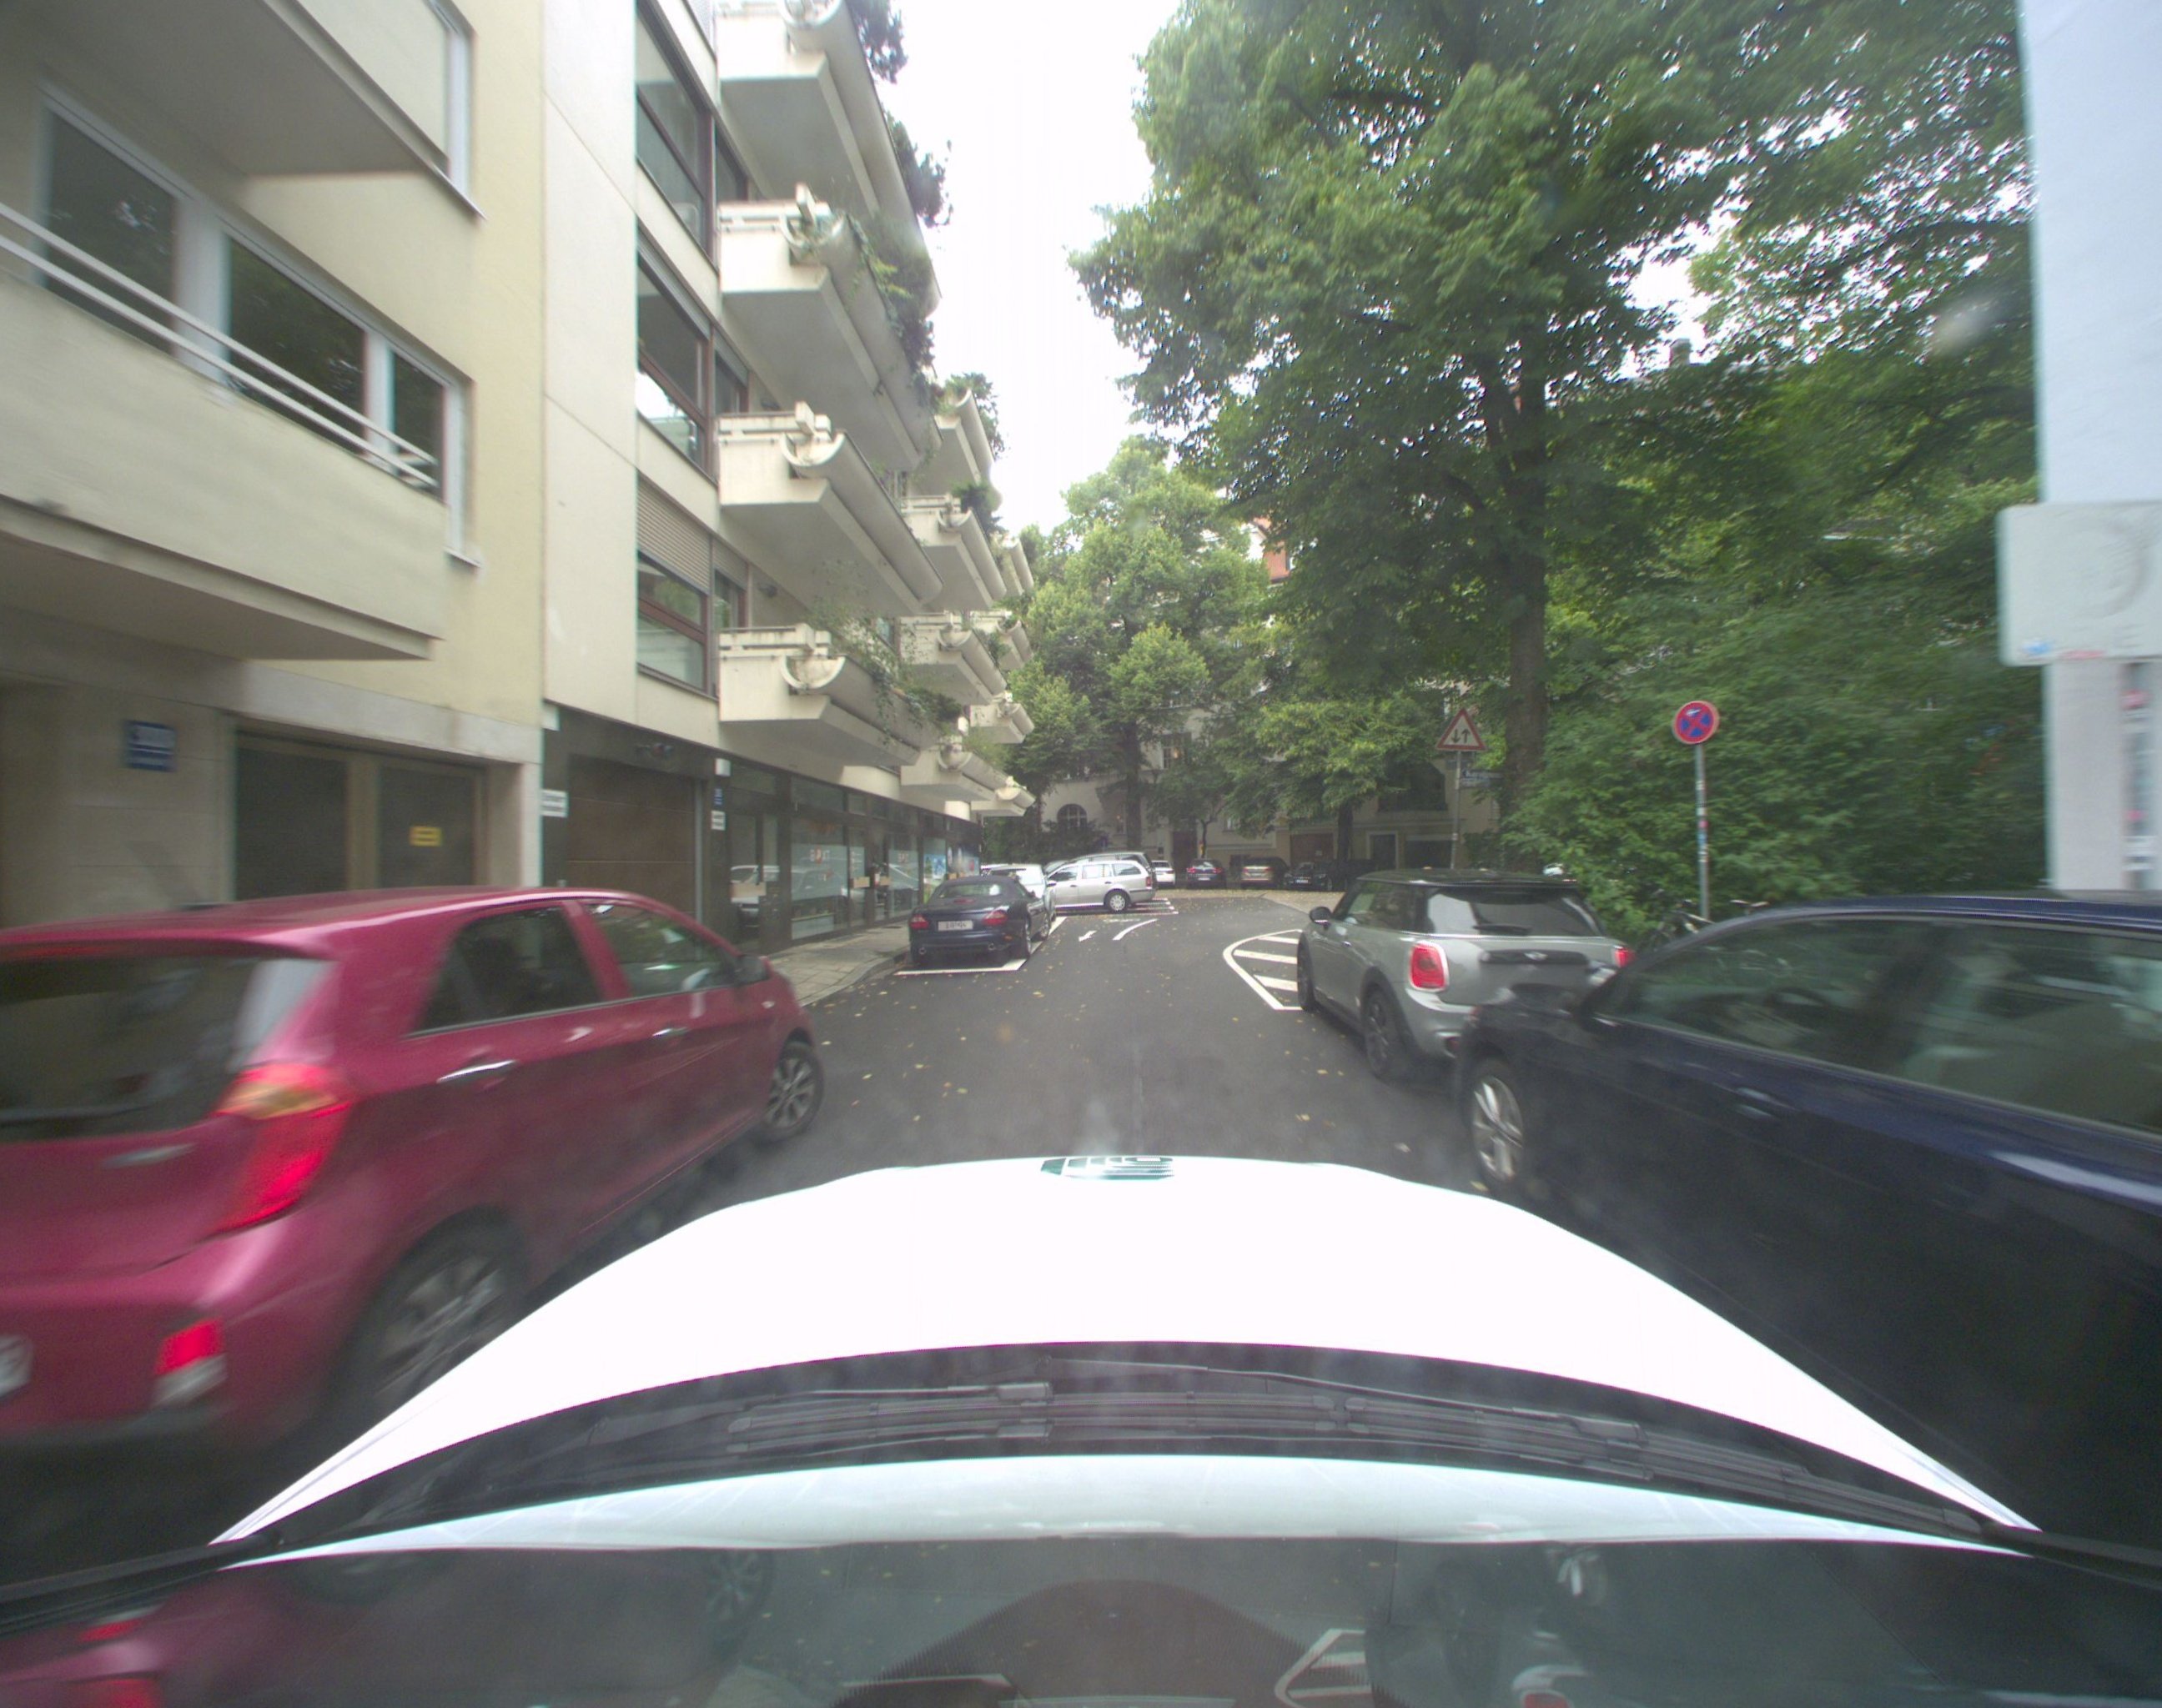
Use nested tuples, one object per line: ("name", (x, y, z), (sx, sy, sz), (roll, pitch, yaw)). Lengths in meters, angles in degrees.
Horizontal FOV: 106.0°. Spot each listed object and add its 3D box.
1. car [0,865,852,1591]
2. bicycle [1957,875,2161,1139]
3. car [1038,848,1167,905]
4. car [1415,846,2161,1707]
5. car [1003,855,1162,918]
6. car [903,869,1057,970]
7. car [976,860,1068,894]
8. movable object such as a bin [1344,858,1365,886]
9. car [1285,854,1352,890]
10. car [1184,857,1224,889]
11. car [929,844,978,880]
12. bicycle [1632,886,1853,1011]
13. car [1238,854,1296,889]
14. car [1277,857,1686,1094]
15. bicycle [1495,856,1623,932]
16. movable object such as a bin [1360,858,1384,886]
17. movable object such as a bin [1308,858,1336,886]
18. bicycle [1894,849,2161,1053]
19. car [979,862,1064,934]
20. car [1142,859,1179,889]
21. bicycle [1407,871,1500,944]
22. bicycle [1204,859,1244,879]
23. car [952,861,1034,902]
("car", (-2.393, 0.823, 3.578), (1.613, 1.496, 3.710), (-1, -1, 1))
("bicycle", (5.376, 0.733, 3.811), (0.557, 1.220, 1.919), (0, 0, 3))
("car", (0.722, 0.762, 28.046), (4.206, 1.684, 1.902), (-3, 0, 0))
("car", (2.685, 0.701, 2.365), (1.826, 1.419, 4.059), (-1, -1, 1))
("car", (0.062, 0.884, 22.809), (4.212, 1.455, 1.722), (-3, 0, 1))
("car", (-1.487, 0.964, 13.725), (1.790, 1.278, 4.619), (-3, 0, 2))
("car", (-2.382, 0.909, 32.701), (3.454, 1.284, 1.523), (0, 0, -15))
("movable object such as a bin", (13.489, 0.890, 40.182), (0.706, 1.348, 1.382), (-1, -1, 30))
("car", (10.483, 0.834, 35.718), (1.687, 1.467, 4.315), (1, -2, 32))
("car", (5.857, 0.886, 38.731), (1.780, 1.431, 4.010), (0, 0, 9))
("car", (-5.983, 0.352, 38.610), (1.694, 1.601, 4.000), (0, 0, 0))
("bicycle", (6.362, 0.863, 7.900), (1.614, 1.056, 0.454), (-1, -1, 45))
("car", (8.744, 0.795, 38.119), (1.822, 1.530, 4.048), (-1, -1, 25))
("car", (2.956, 0.775, 7.055), (1.735, 1.441, 4.003), (-1, -1, 3))
("bicycle", (6.928, 0.557, 11.809), (1.631, 1.056, 0.603), (0, -1, -13))
("movable object such as a bin", (14.128, 0.859, 39.510), (0.854, 1.305, 1.441), (1, 0, 28))
("movable object such as a bin", (12.095, 0.878, 40.877), (1.139, 1.348, 1.163), (0, 0, 28))
("bicycle", (6.408, 0.582, 5.279), (1.845, 1.230, 0.577), (0, 0, -6))
("car", (-1.297, 0.942, 19.102), (1.555, 1.421, 3.834), (-3, 0, 1))
("car", (3.879, 0.944, 39.940), (1.710, 1.431, 4.005), (0, 0, 5))
("bicycle", (6.335, 0.878, 13.832), (1.779, 1.137, 0.549), (0, -1, -33))
("bicycle", (8.307, 0.866, 47.202), (2.207, 1.115, 0.580), (0, -1, 31))
("car", (-3.760, 1.144, 34.702), (3.296, 1.631, 1.501), (0, -1, -17))
